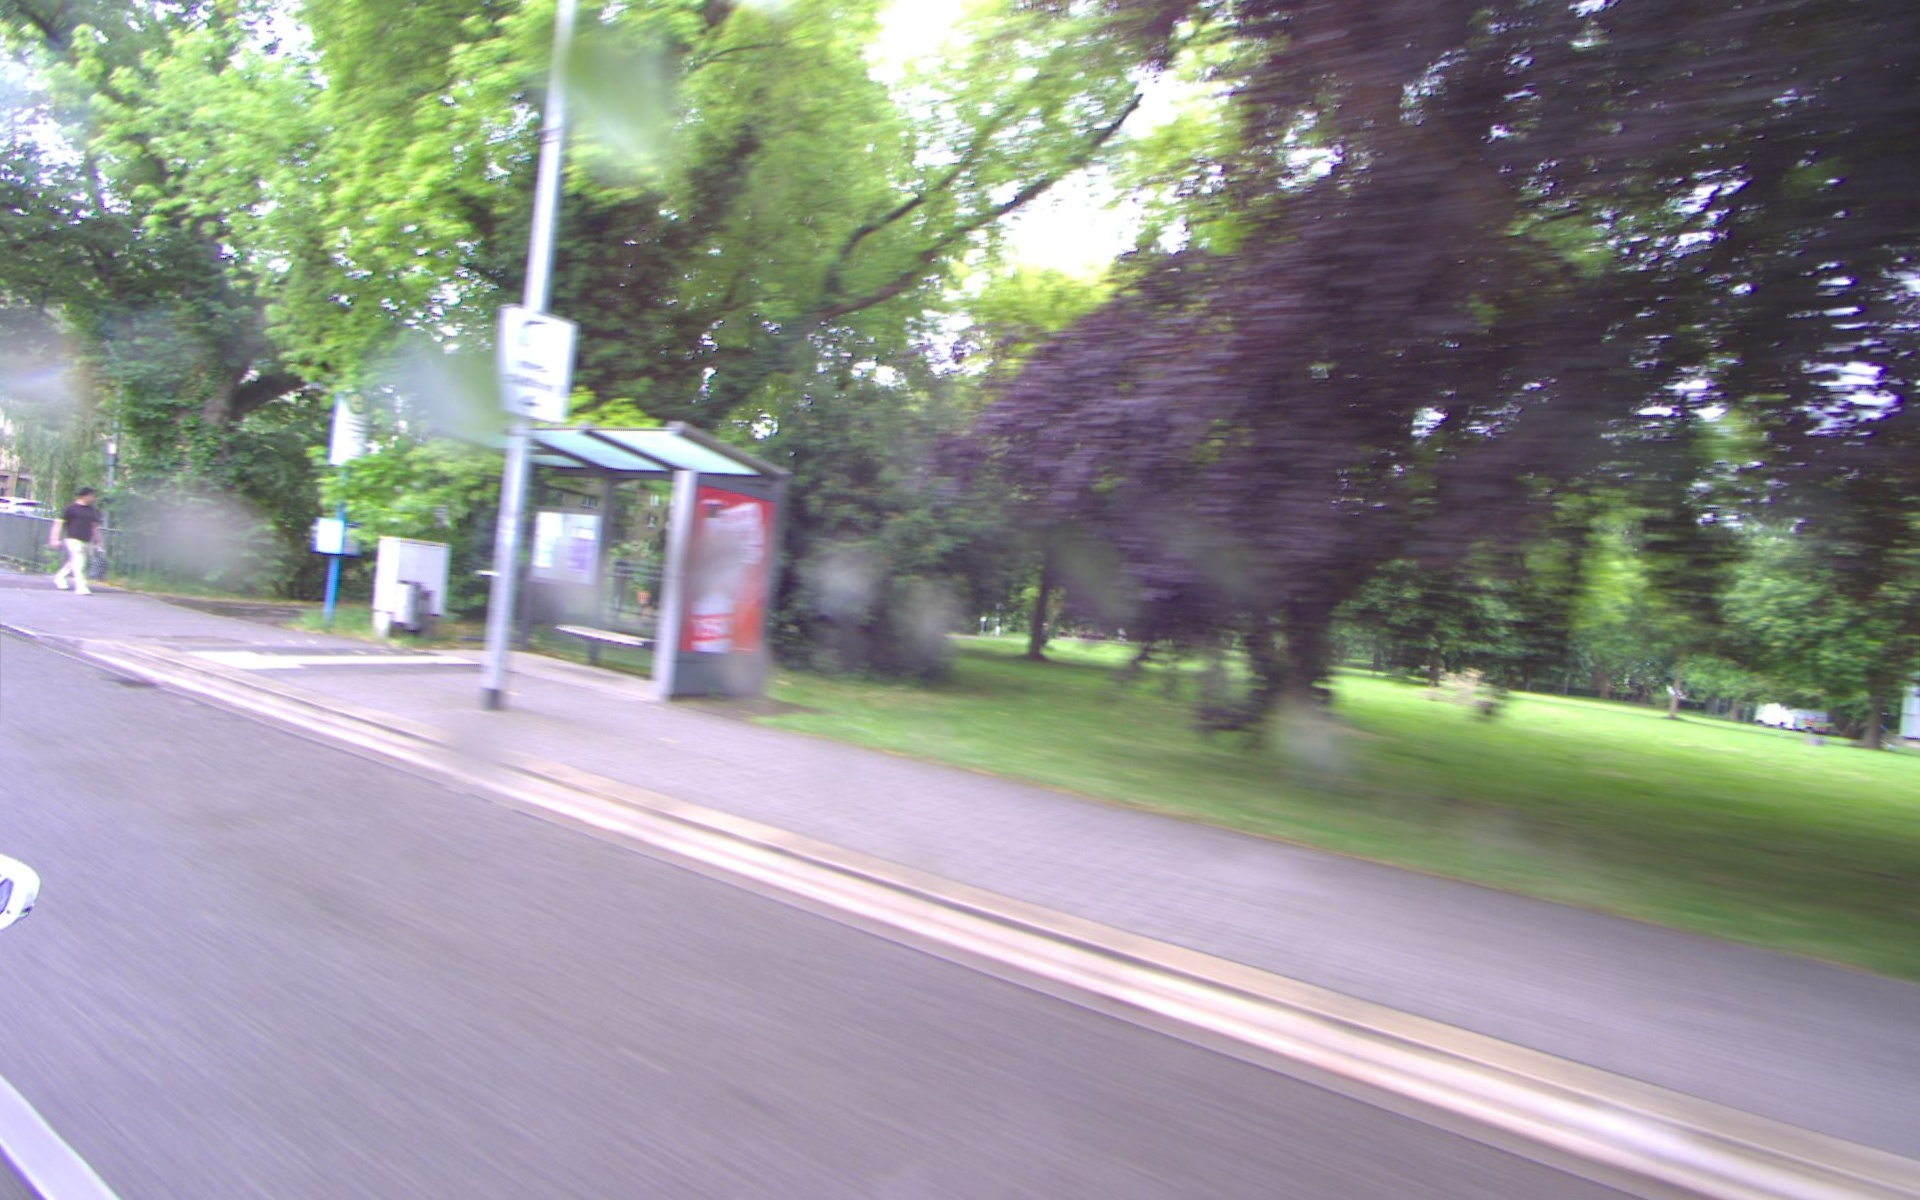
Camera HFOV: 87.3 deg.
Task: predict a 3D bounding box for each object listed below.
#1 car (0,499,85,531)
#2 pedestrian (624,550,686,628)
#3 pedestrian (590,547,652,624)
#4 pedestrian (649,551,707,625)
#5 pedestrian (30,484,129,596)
[{"bbox_3d":[-56.990,-5.257,61.892,1.782,1.393,4.455,9,0,15],"label":"car"},{"bbox_3d":[-7.469,-0.249,24.684,0.768,1.774,1.059,6,0,27],"label":"pedestrian"},{"bbox_3d":[-8.429,-0.342,25.024,0.768,1.774,1.059,6,0,27],"label":"pedestrian"},{"bbox_3d":[-7.287,-0.300,26.028,0.768,1.774,1.059,6,0,27],"label":"pedestrian"},{"bbox_3d":[-14.349,-0.972,16.404,1.148,1.698,0.848,6,2,31],"label":"pedestrian"}]
